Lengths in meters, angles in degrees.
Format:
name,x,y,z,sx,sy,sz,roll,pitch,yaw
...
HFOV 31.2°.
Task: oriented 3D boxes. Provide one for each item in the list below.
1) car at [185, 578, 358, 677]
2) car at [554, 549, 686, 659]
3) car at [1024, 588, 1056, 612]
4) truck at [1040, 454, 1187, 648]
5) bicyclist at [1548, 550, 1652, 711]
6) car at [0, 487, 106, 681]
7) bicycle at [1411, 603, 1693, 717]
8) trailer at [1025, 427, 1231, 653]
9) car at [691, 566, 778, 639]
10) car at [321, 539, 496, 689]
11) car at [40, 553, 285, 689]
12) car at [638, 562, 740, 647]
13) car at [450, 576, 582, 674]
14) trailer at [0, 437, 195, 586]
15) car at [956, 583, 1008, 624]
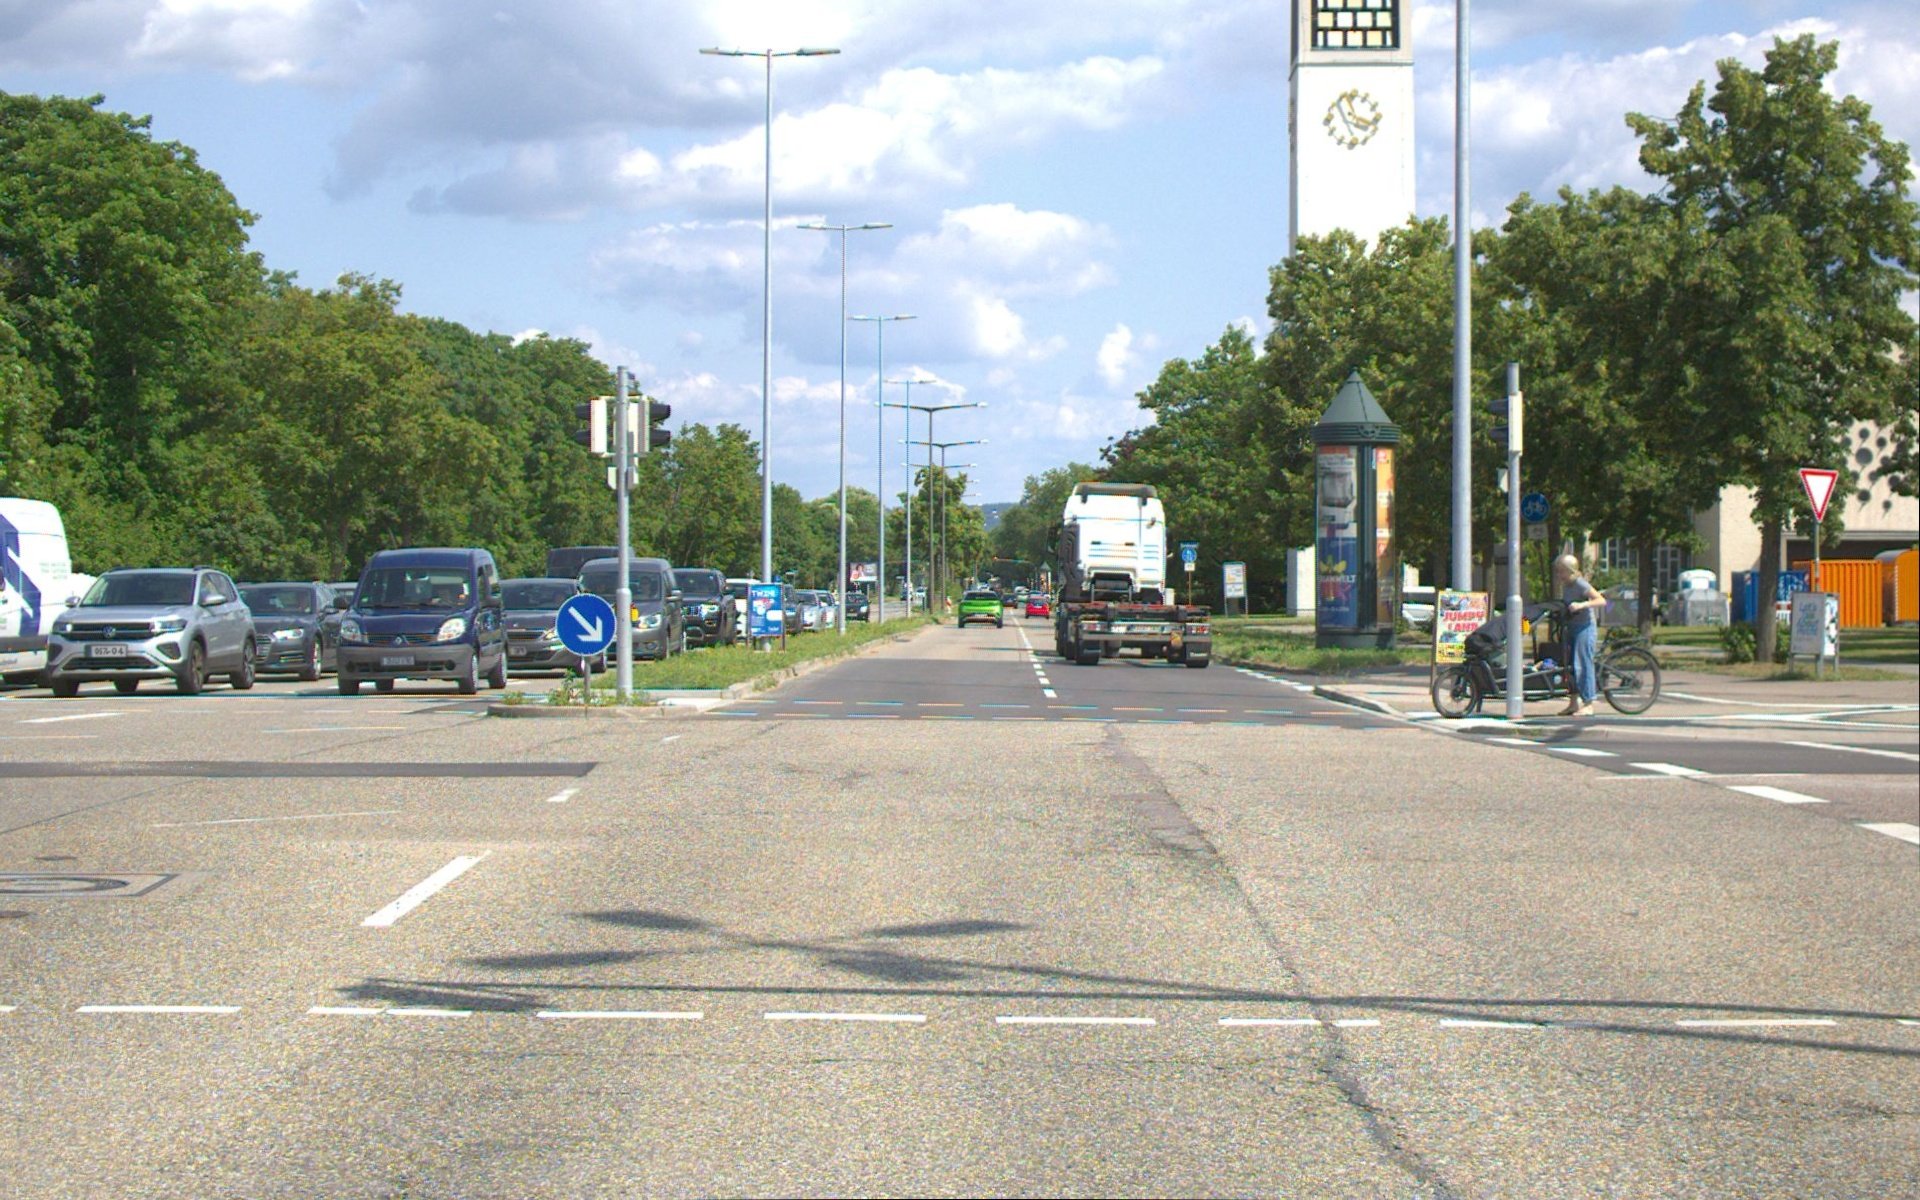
name,x,y,z,sx,sy,sz,roll,pitch,yaw
car,-9.712,0.370,48.712,1.763,1.347,3.519,1,0,-1
car,-5.622,0.036,57.273,1.734,1.654,4.231,2,1,0
car,5.431,0.021,234.427,1.993,1.547,4.000,2,0,-1
truck,3.433,-0.987,75.129,2.960,3.957,8.636,1,0,4
bicyclist,6.518,0.305,35.015,0.698,1.610,0.797,0,1,-24
car,-13.147,-0.241,44.708,2.174,2.463,5.966,2,0,4
bicycle,6.004,0.592,34.800,2.832,1.108,0.797,0,1,-24
trailer,3.364,-1.044,67.163,3.621,3.998,11.317,1,0,4
car,-5.380,0.057,82.353,1.734,1.654,4.231,2,0,0
car,-6.603,0.152,41.512,1.734,1.654,4.232,2,0,-5
car,-9.808,0.246,42.593,1.735,1.538,4.308,2,0,4
car,-5.554,0.083,70.867,1.734,1.654,4.231,2,0,-1
car,-6.406,0.346,49.850,1.568,1.311,3.432,2,0,-3
trailer,-13.014,-1.261,50.328,2.124,2.007,5.161,2,0,3
car,0.871,0.120,138.476,1.993,1.547,4.000,2,0,-1
